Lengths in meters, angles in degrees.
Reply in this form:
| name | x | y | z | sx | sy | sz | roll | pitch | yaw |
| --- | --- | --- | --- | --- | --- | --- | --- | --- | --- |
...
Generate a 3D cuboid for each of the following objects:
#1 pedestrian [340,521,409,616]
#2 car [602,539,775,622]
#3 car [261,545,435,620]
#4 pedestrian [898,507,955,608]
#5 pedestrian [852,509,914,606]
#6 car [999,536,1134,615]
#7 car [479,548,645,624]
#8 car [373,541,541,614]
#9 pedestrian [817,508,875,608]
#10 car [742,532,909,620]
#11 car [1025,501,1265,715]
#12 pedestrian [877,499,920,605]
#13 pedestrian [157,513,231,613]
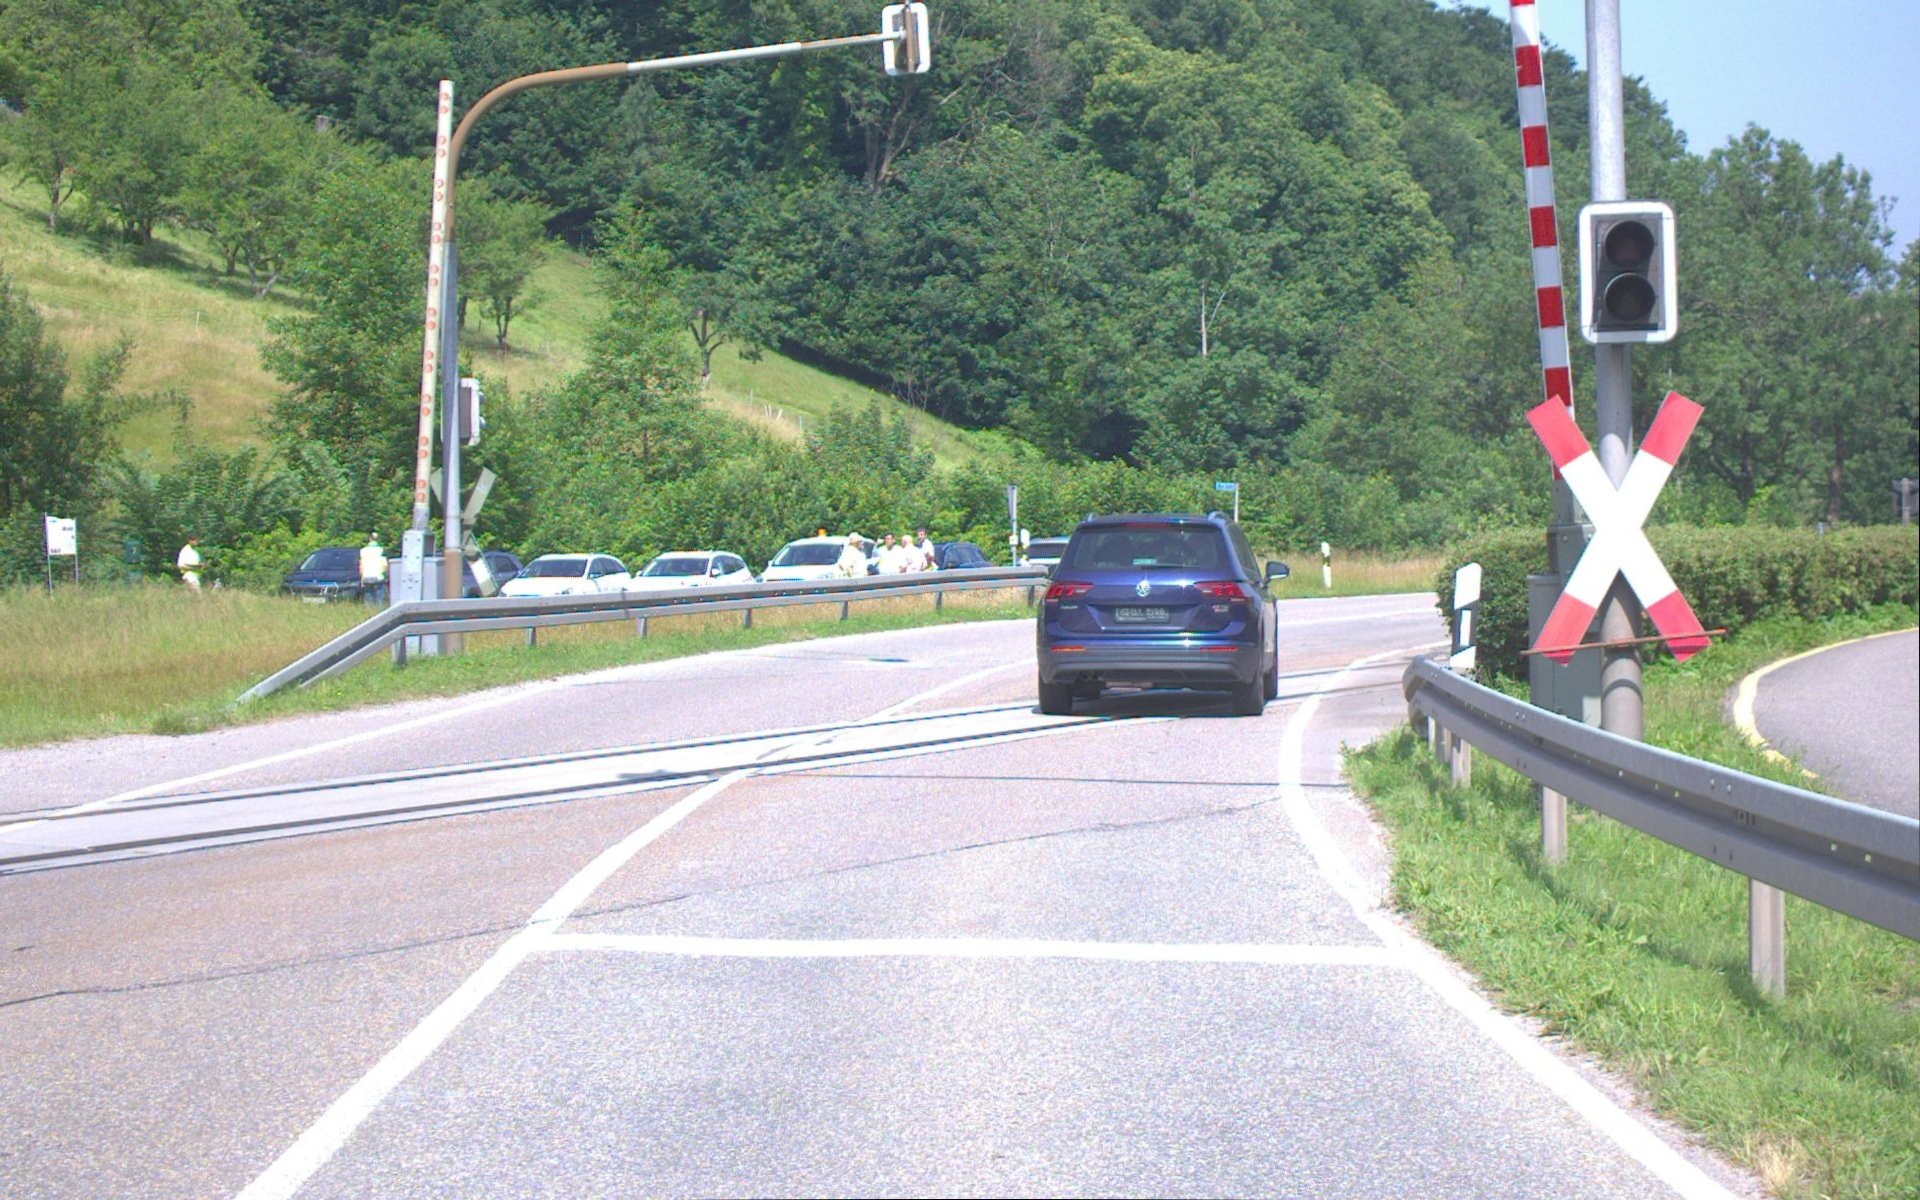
| name | x | y | z | sx | sy | sz | roll | pitch | yaw |
| --- | --- | --- | --- | --- | --- | --- | --- | --- | --- |
| pedestrian | -11.390 | -0.616 | 66.892 | 0.954 | 1.788 | 0.999 | -2 | 1 | 12 |
| car | -5.643 | -0.438 | 72.161 | 1.995 | 1.636 | 4.898 | -2 | 1 | 16 |
| car | -13.118 | -0.395 | 73.995 | 1.995 | 1.495 | 4.519 | -2 | 1 | 14 |
| pedestrian | -0.635 | -0.793 | 64.482 | 0.769 | 1.852 | 0.649 | -2 | 0 | -40 |
| pedestrian | -1.456 | -0.796 | 64.838 | 0.770 | 1.790 | 0.792 | -2 | 0 | 43 |
| car | 2.172 | -0.514 | 69.027 | 1.827 | 1.495 | 4.275 | -2 | 1 | 14 |
| car | -8.336 | -0.317 | 72.446 | 1.995 | 1.495 | 4.519 | -2 | 1 | 14 |
| car | -10.691 | -0.510 | 73.405 | 1.995 | 1.495 | 4.519 | 1 | 1 | 14 |
| pedestrian | -2.119 | -0.777 | 63.962 | 0.789 | 1.836 | 0.697 | -1 | 1 | 27 |
| car | -2.771 | -0.523 | 71.919 | 1.873 | 1.776 | 4.768 | 0 | 1 | 19 |
| car | 1.620 | 0.029 | 28.850 | 1.853 | 1.643 | 4.139 | 1 | 1 | 5 |
| pedestrian | -1.145 | -0.900 | 64.040 | 0.660 | 1.948 | 0.533 | -2 | 1 | 6 |
| pedestrian | -15.362 | -0.744 | 68.964 | 1.128 | 1.962 | 0.860 | -1 | 1 | 31 |
